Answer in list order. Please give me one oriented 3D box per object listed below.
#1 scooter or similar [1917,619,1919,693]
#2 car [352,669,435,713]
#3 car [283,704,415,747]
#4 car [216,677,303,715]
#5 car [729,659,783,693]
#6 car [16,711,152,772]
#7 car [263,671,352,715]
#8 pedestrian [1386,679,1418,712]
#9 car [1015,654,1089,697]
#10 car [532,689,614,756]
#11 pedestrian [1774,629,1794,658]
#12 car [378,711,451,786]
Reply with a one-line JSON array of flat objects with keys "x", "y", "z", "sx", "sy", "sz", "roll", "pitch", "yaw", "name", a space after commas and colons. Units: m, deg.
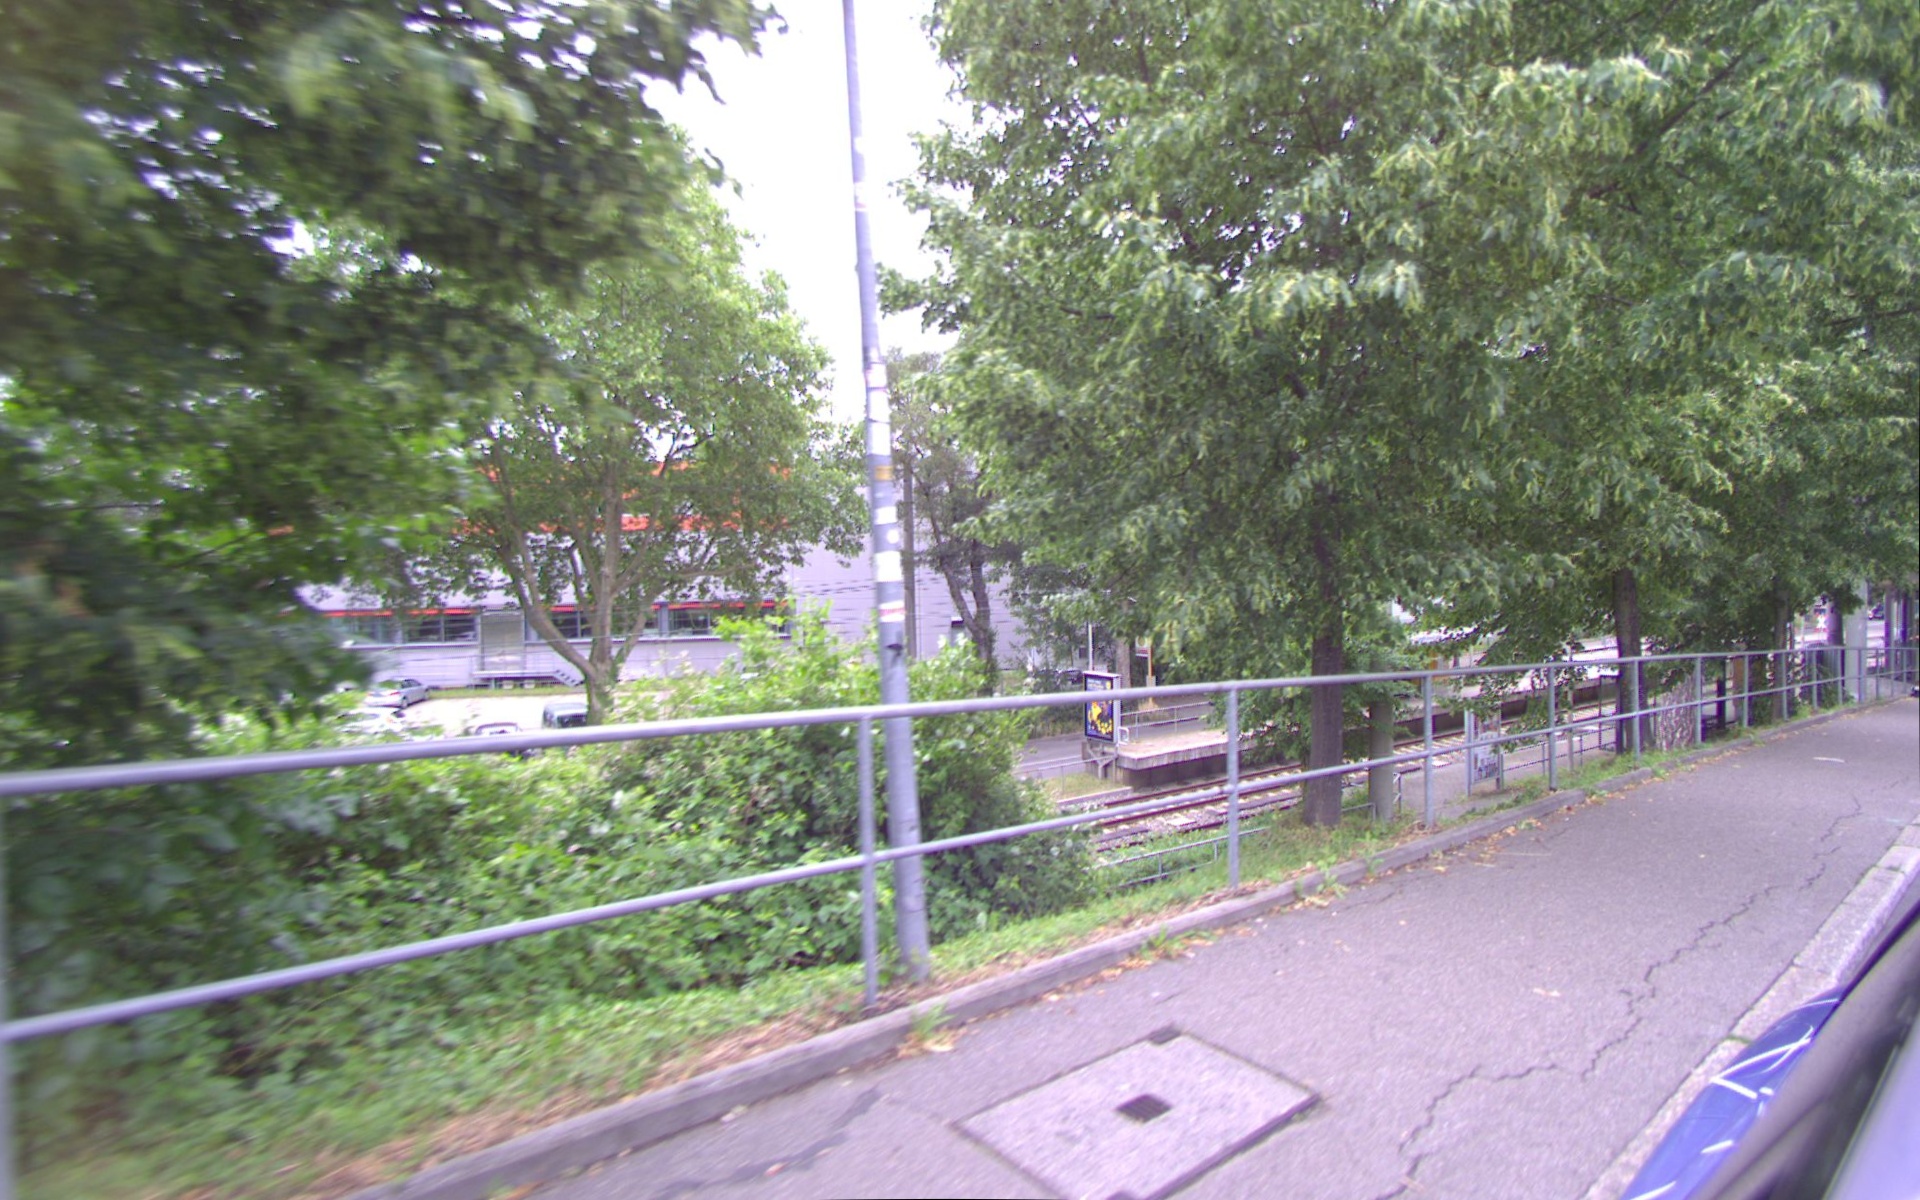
[{"x": 18.757, "y": 1.057, "z": 19.432, "sx": 1.430, "sy": 1.402, "sz": 0.430, "roll": 0, "pitch": 0, "yaw": -41, "name": "scooter or similar"}, {"x": -29.040, "y": 4.636, "z": 52.080, "sx": 1.961, "sy": 1.485, "sz": 4.351, "roll": 0, "pitch": 6, "yaw": -3, "name": "car"}, {"x": -25.259, "y": 5.183, "z": 41.973, "sx": 4.254, "sy": 1.487, "sz": 2.003, "roll": 0, "pitch": 0, "yaw": -7, "name": "car"}, {"x": -35.839, "y": 4.889, "z": 51.918, "sx": 1.959, "sy": 1.487, "sz": 4.349, "roll": 0, "pitch": 0, "yaw": -9, "name": "car"}, {"x": -10.606, "y": 3.929, "z": 52.882, "sx": 1.962, "sy": 1.393, "sz": 4.534, "roll": 0, "pitch": 0, "yaw": -1, "name": "car"}, {"x": -34.280, "y": 5.491, "z": 39.766, "sx": 1.959, "sy": 1.738, "sz": 4.349, "roll": 0, "pitch": 0, "yaw": -7, "name": "car"}, {"x": -33.350, "y": 4.705, "z": 51.862, "sx": 1.960, "sy": 1.485, "sz": 4.351, "roll": 0, "pitch": 5, "yaw": -4, "name": "car"}, {"x": 17.423, "y": 3.748, "z": 39.908, "sx": 0.935, "sy": 1.181, "sz": 0.779, "roll": 0, "pitch": 0, "yaw": -34, "name": "pedestrian"}, {"x": 4.421, "y": 3.605, "z": 49.162, "sx": 1.958, "sy": 1.724, "sz": 4.007, "roll": 0, "pitch": 0, "yaw": -23, "name": "car"}, {"x": -14.000, "y": 4.333, "z": 36.479, "sx": 1.961, "sy": 1.814, "sz": 4.585, "roll": 0, "pitch": 0, "yaw": -31, "name": "car"}, {"x": 49.760, "y": 2.647, "z": 61.115, "sx": 0.670, "sy": 1.697, "sz": 0.754, "roll": 0, "pitch": 0, "yaw": -30, "name": "pedestrian"}, {"x": -18.680, "y": 4.989, "z": 34.566, "sx": 1.961, "sy": 1.814, "sz": 4.585, "roll": 0, "pitch": 0, "yaw": -31, "name": "car"}]
